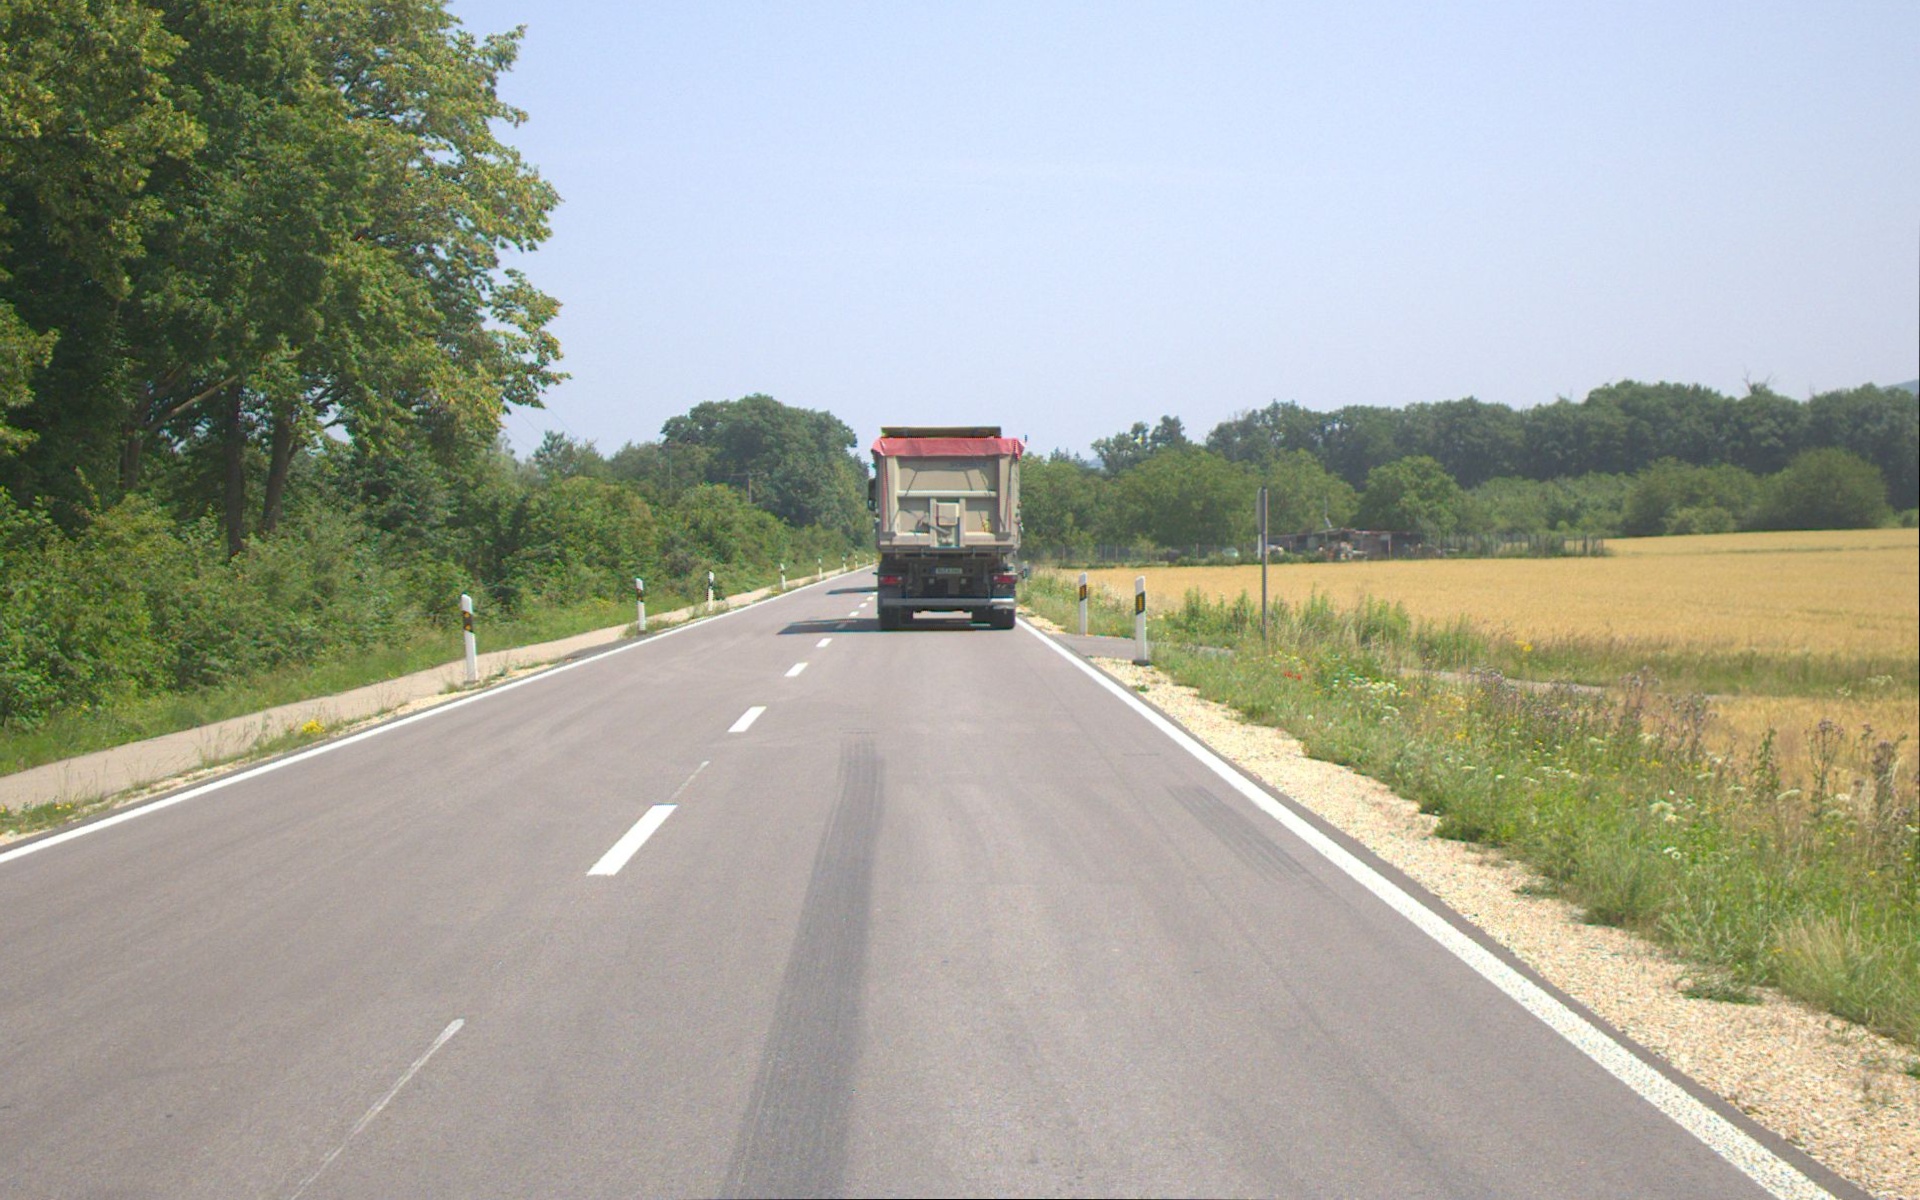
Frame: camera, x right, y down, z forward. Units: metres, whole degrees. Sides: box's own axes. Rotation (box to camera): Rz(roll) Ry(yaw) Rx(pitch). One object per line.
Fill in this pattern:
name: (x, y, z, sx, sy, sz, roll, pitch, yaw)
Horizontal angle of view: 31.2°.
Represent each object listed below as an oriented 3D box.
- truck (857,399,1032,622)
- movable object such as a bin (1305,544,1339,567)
truck: (-0.334, -1.611, 66.090, 3.009, 3.861, 12.210, 1, 1, -1)
movable object such as a bin: (24.266, -2.969, 230.461, 1.570, 1.491, 3.659, -1, 1, -5)
